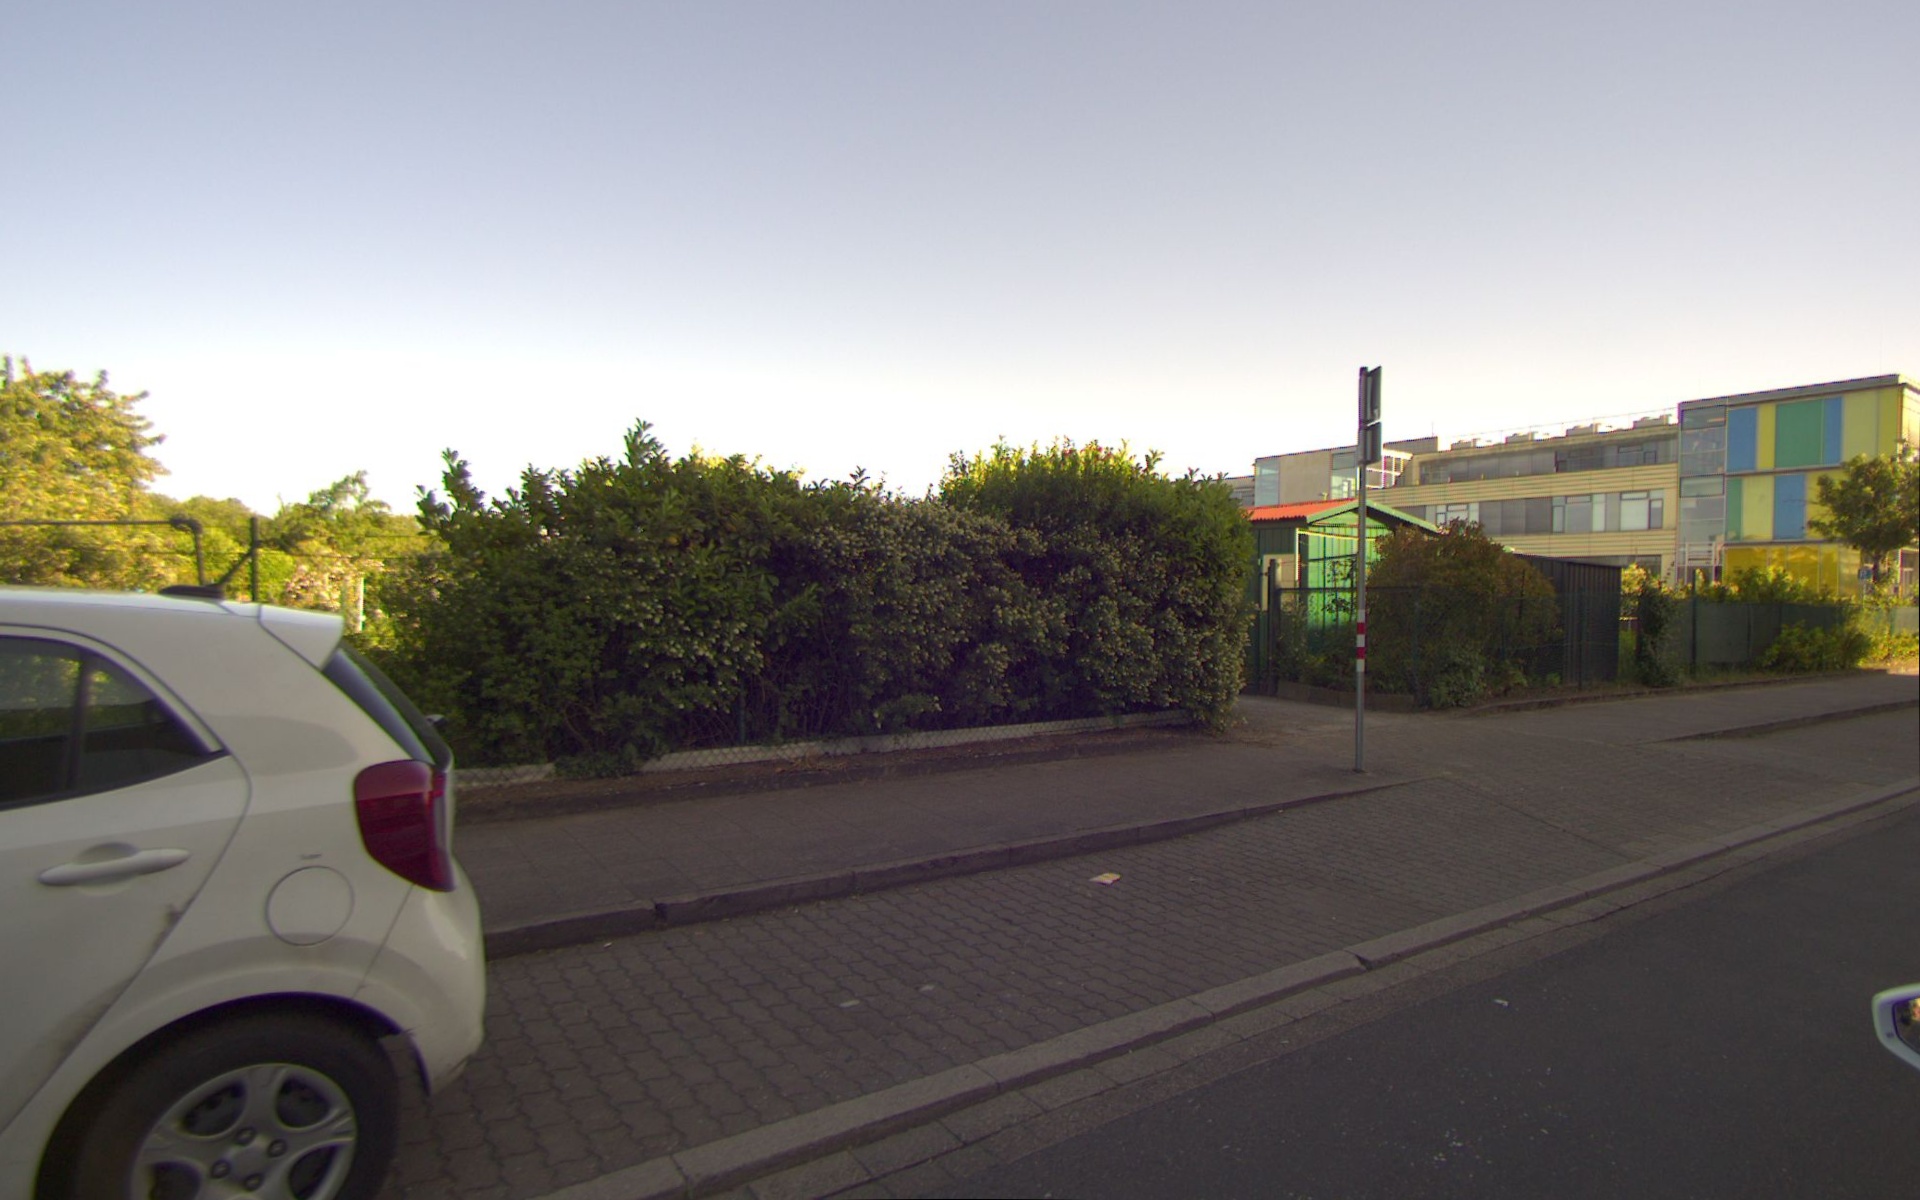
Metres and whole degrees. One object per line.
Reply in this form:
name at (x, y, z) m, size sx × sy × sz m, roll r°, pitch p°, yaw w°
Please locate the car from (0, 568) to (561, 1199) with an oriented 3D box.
car at (-2.761, 0.679, 2.058) m, size 3.367 × 1.508 × 1.517 m, roll 1°, pitch 1°, yaw -35°
